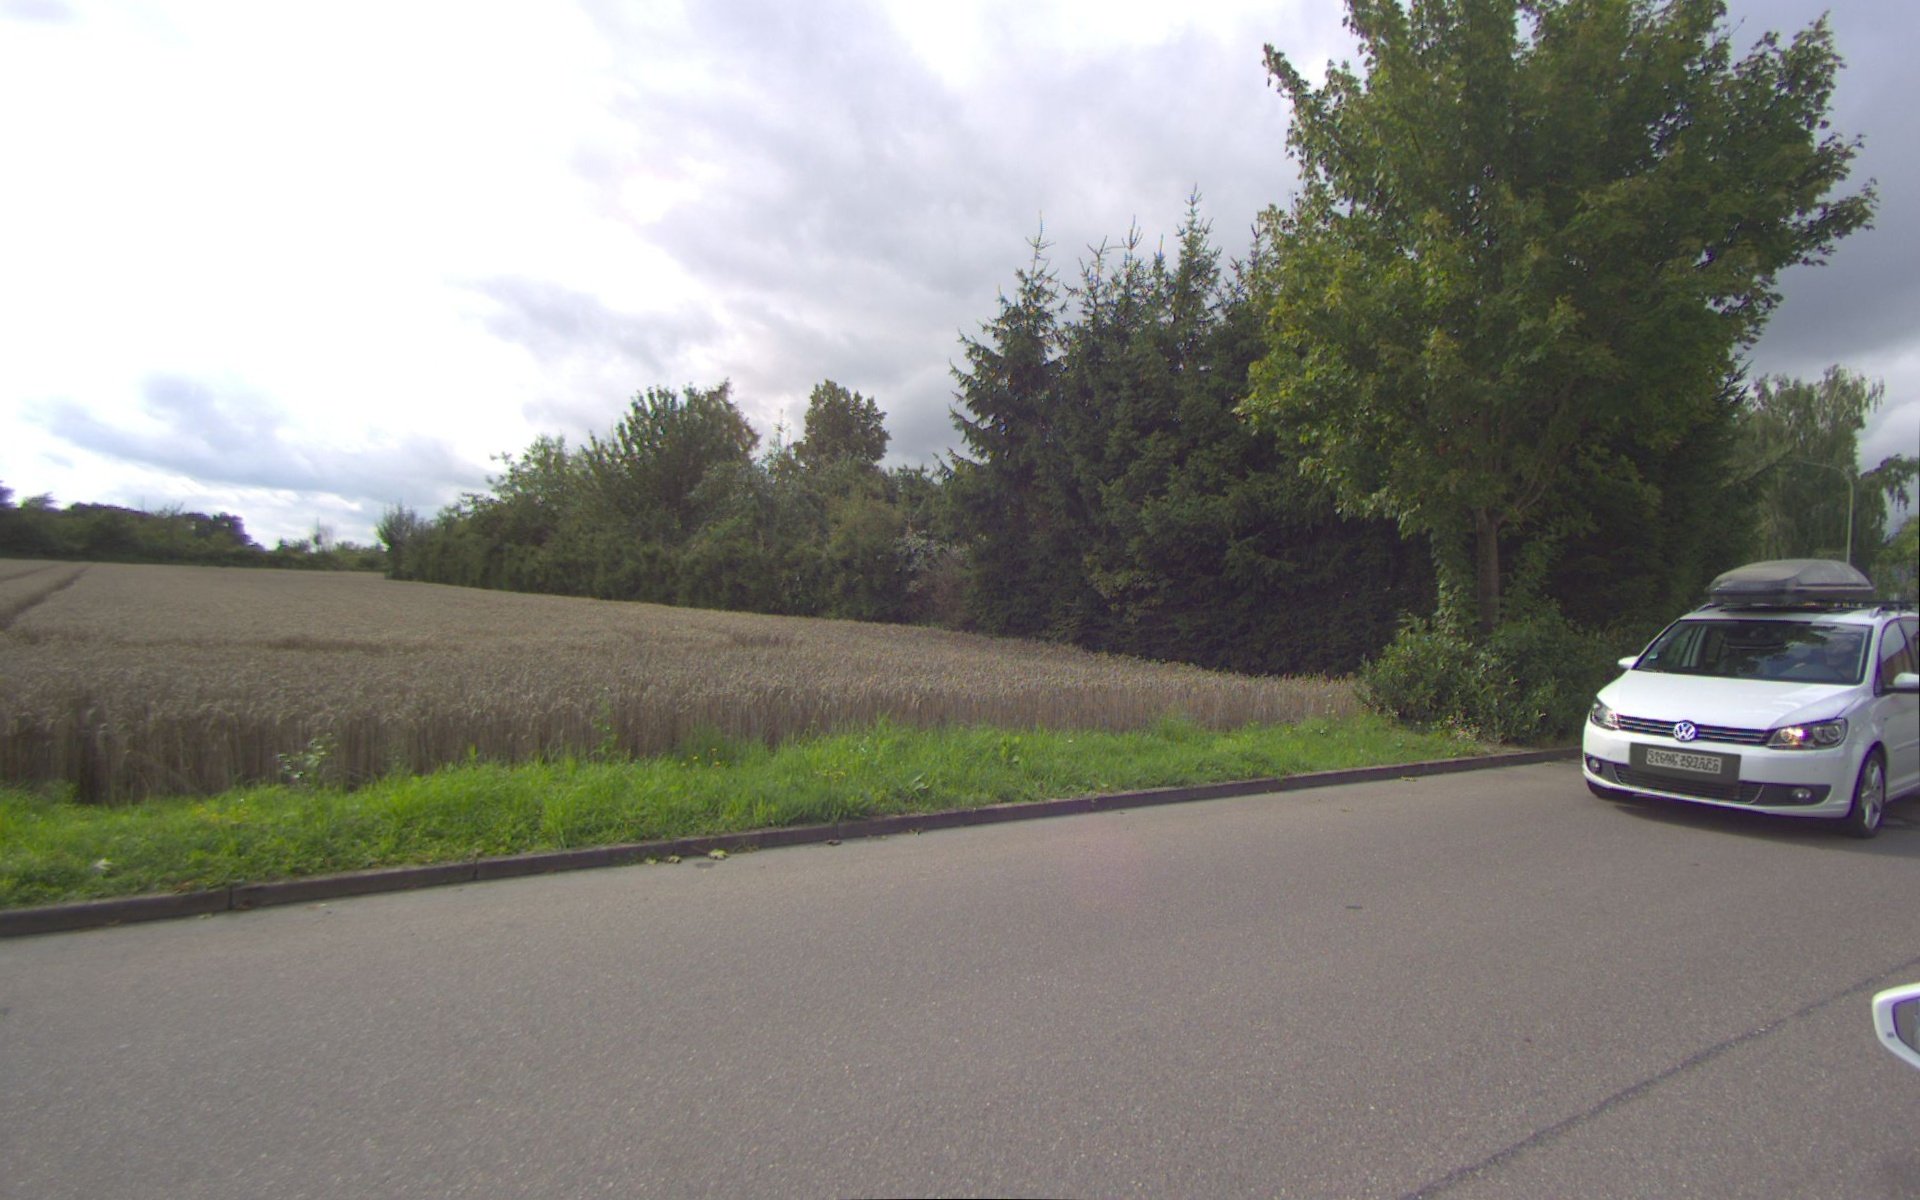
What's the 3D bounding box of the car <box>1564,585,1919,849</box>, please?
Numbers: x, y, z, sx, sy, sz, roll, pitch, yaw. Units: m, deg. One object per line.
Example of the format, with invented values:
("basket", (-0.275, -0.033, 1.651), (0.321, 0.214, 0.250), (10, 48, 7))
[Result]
("car", (6.792, 0.790, 8.297), (3.994, 1.687, 1.687), (2, 0, -37))
